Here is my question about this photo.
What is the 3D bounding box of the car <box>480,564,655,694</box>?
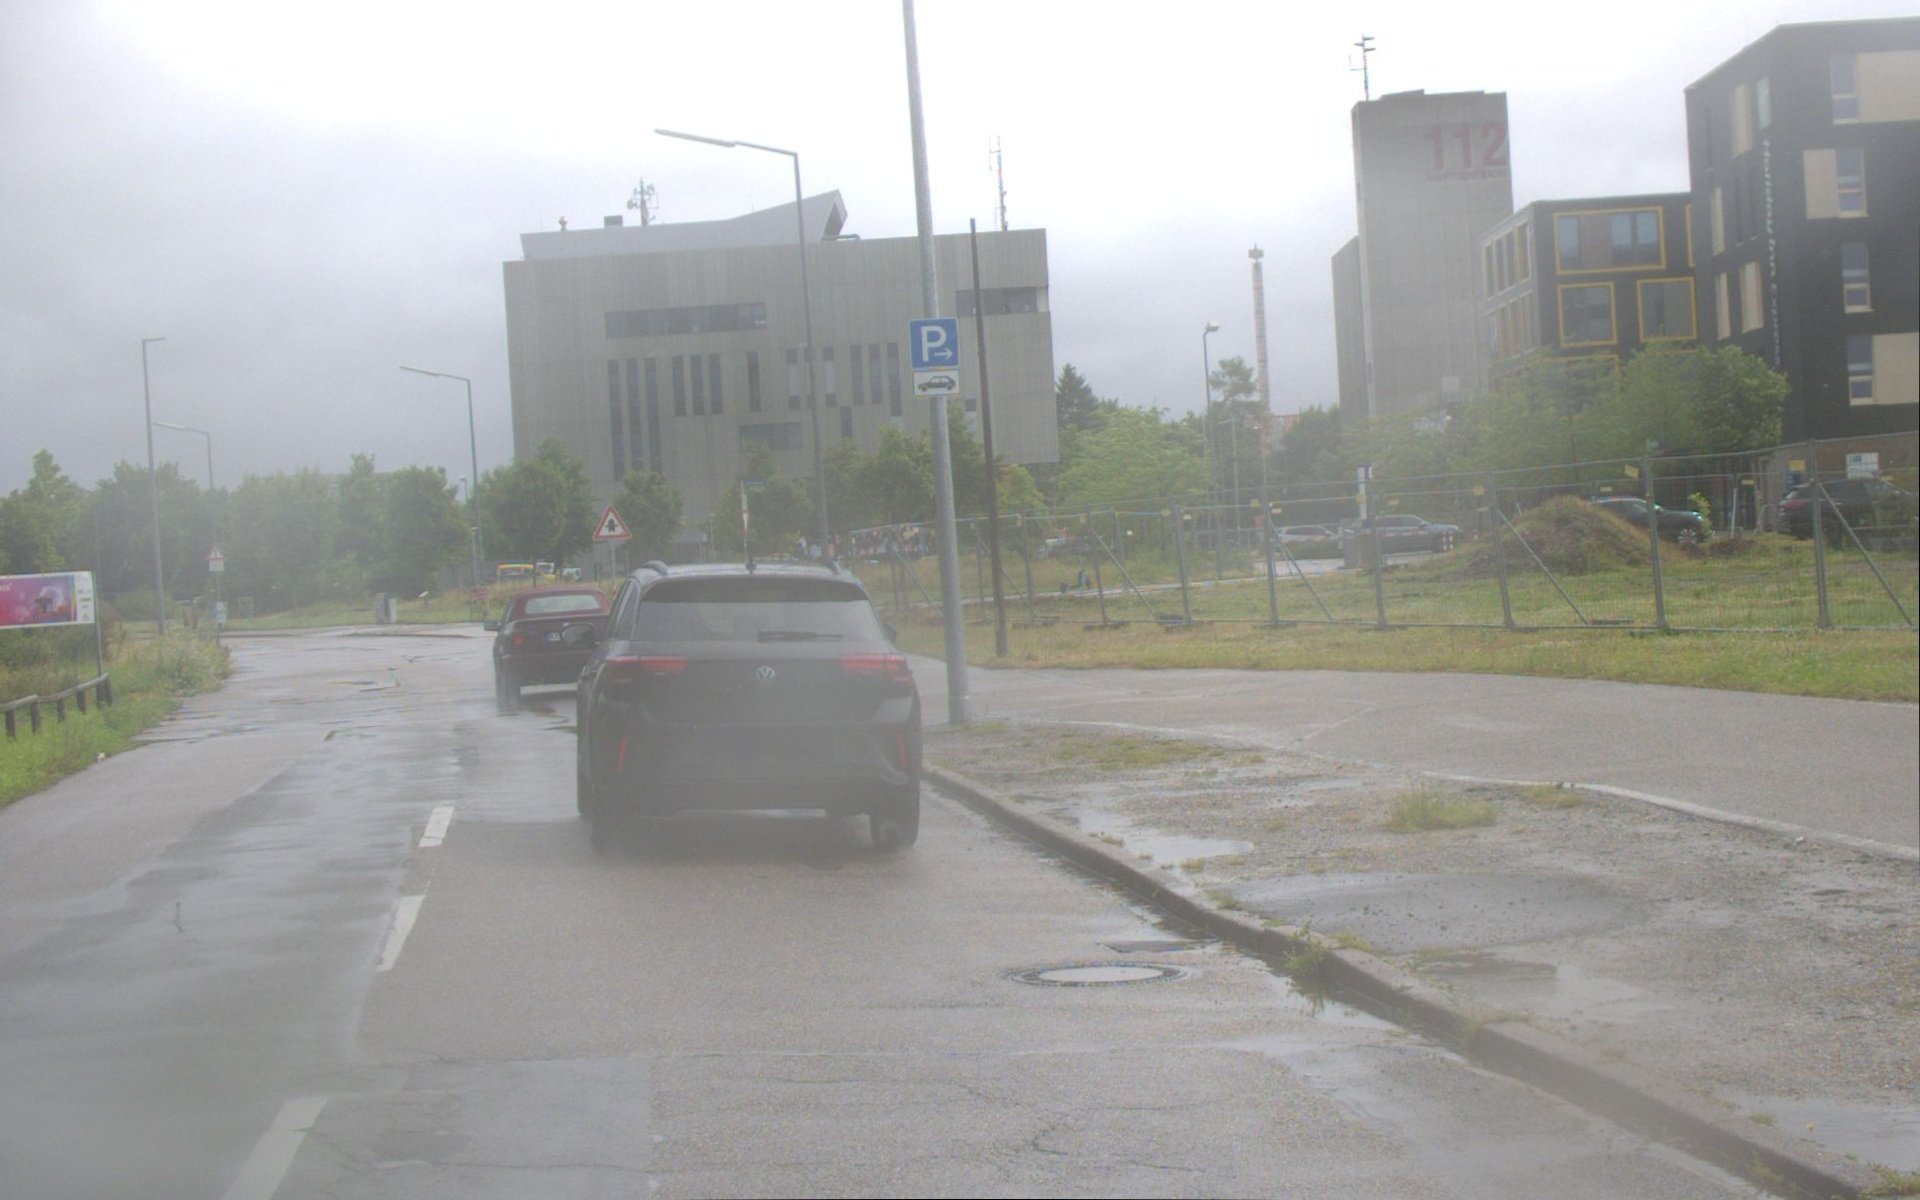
[{"bbox_3d":[-5.197,0.340,45.100,1.841,1.437,4.001,-6,2,-11],"label":"car"}]

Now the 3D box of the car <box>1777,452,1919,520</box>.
[{"bbox_3d":[23.476,-2.957,89.237,3.986,1.722,2.000,-1,1,-3],"label":"car"}]

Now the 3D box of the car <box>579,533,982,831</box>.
[{"bbox_3d":[-1.142,0.384,19.777,1.986,1.515,4.001,-1,1,-8],"label":"car"}]
